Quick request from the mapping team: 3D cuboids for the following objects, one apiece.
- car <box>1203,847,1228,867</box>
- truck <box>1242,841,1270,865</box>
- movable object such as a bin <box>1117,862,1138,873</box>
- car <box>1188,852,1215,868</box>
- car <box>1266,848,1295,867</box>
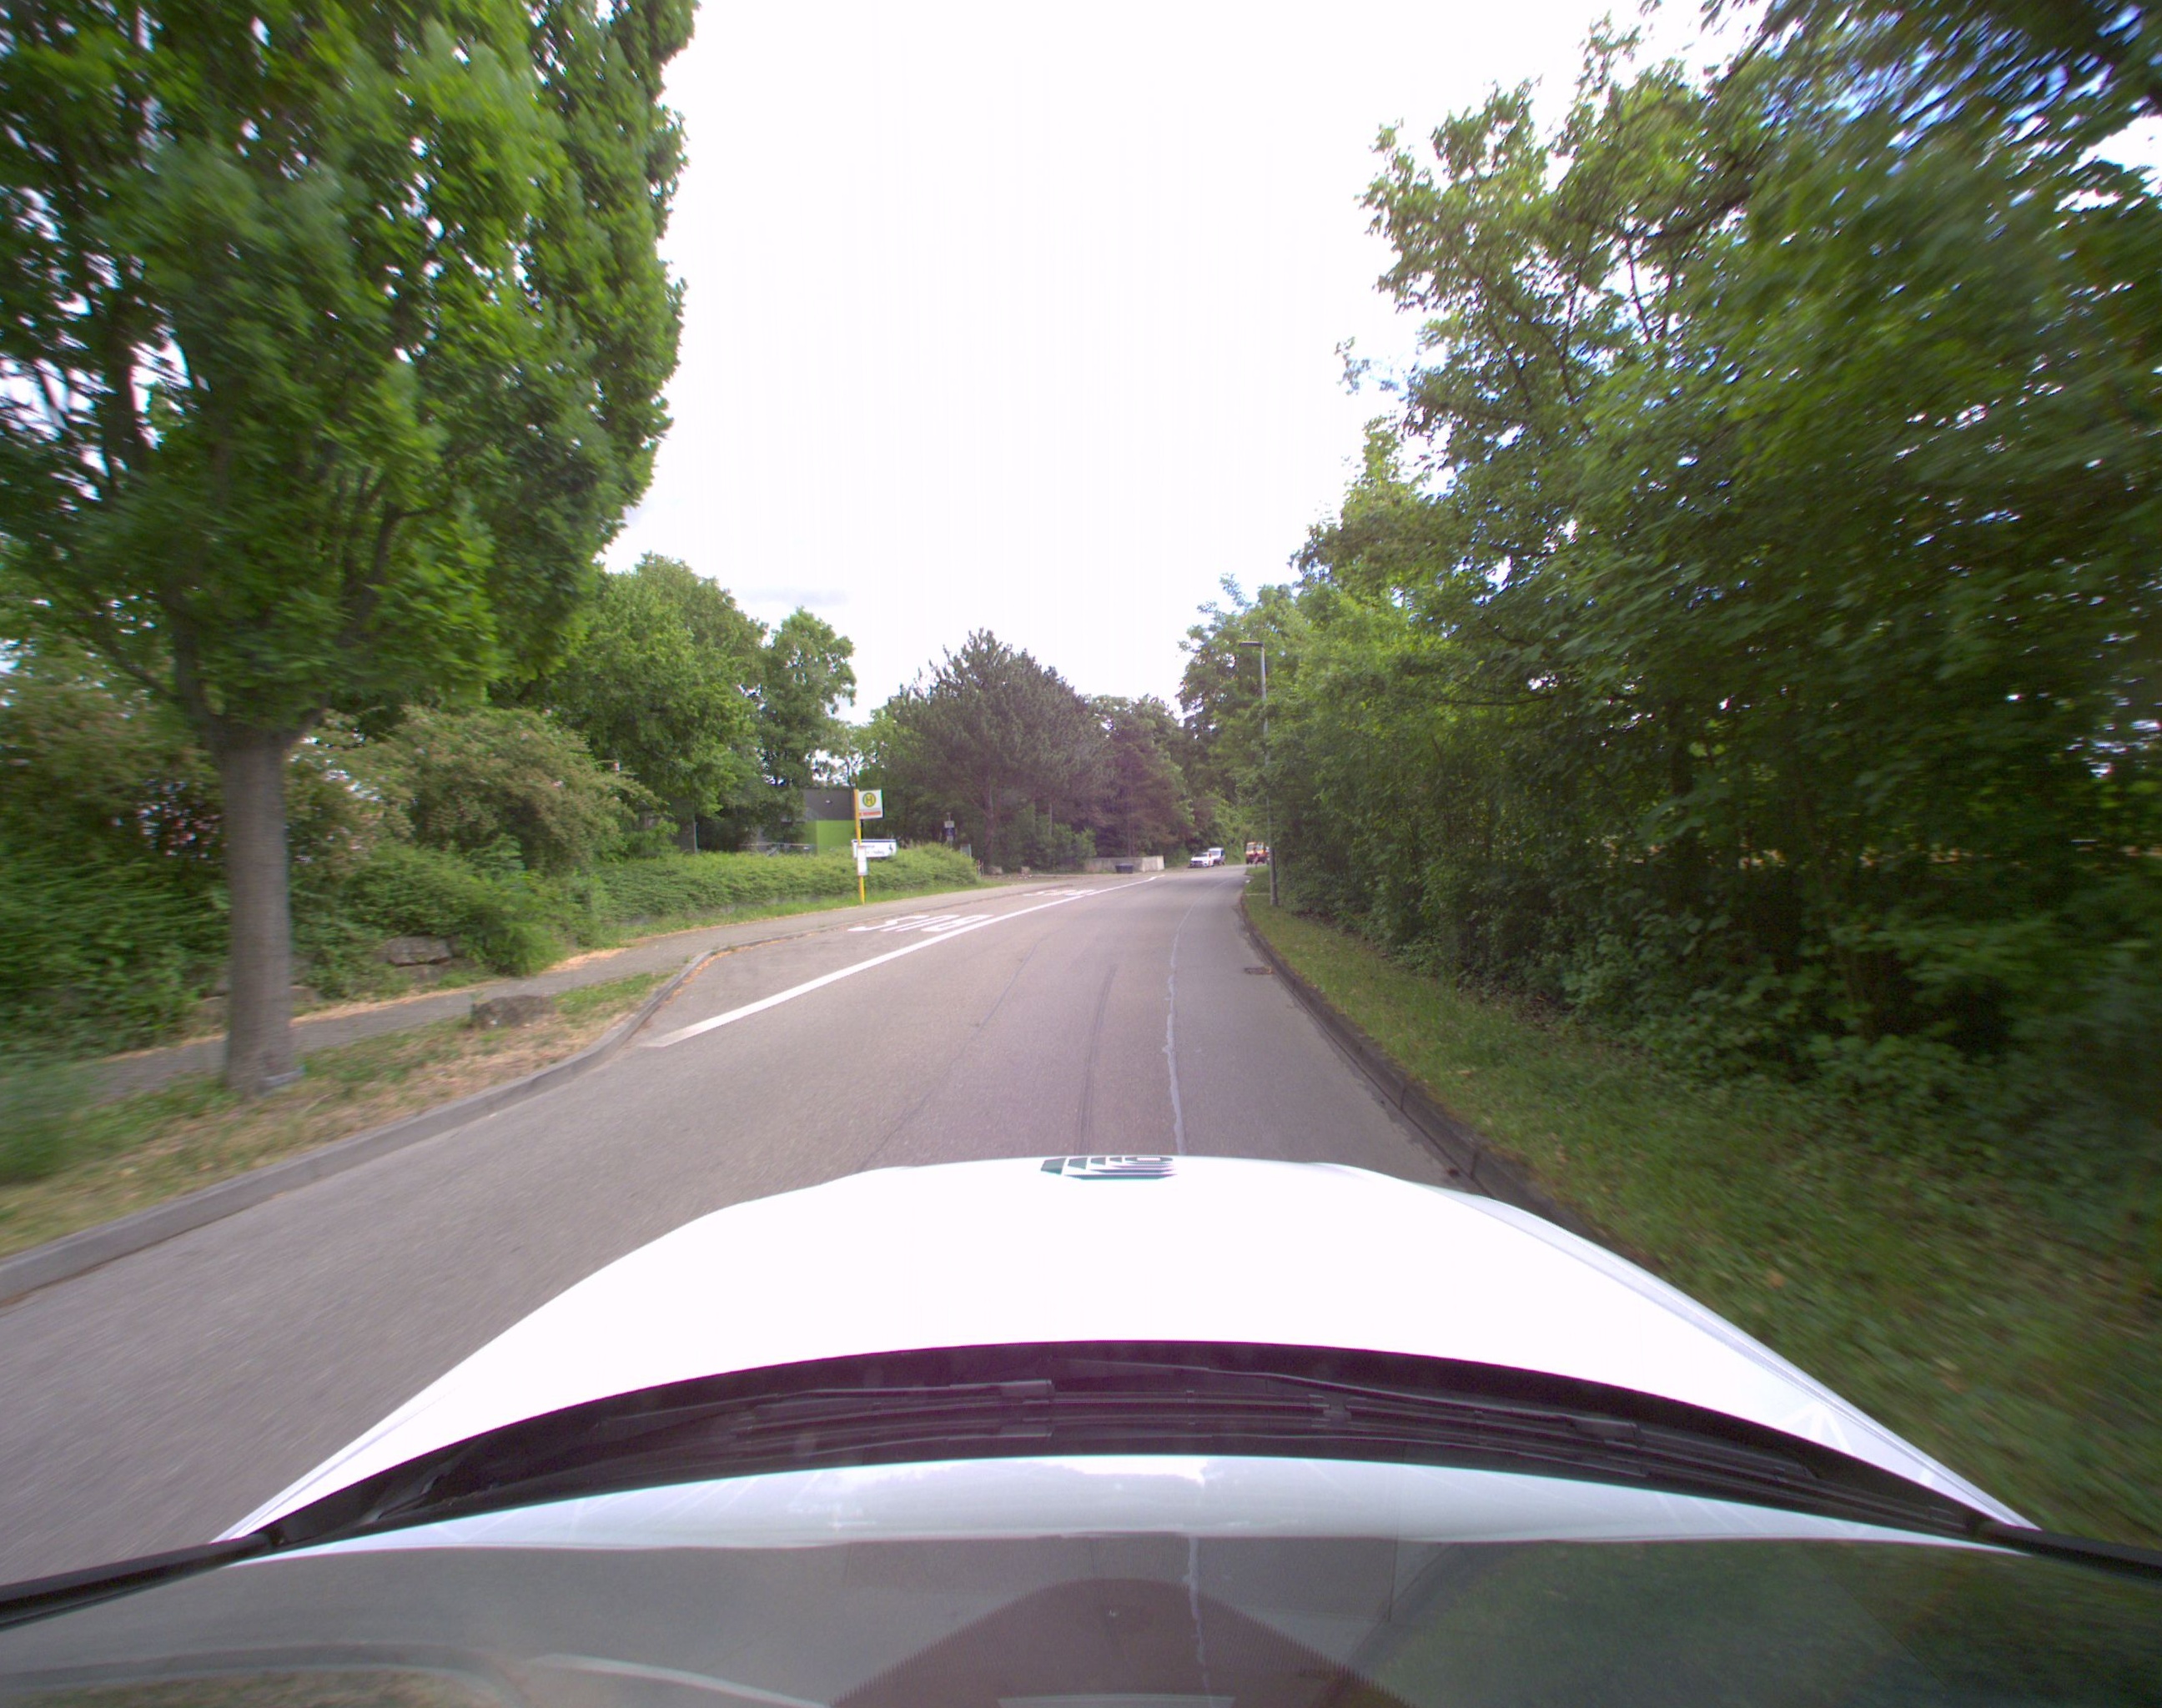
[{"bbox_3d":[13.807,0.282,83.451,1.706,1.921,4.126,-1,1,21],"label":"car"},{"bbox_3d":[18.901,-0.105,87.651,2.303,2.470,6.049,-1,0,18],"label":"truck"},{"bbox_3d":[3.102,0.897,54.378,1.147,0.760,1.042,0,-1,-19],"label":"movable object such as a bin"},{"bbox_3d":[11.436,0.578,77.017,1.791,1.403,4.392,-1,0,18],"label":"car"},{"bbox_3d":[16.247,0.263,66.254,1.778,1.411,4.080,-4,-1,20],"label":"car"}]
